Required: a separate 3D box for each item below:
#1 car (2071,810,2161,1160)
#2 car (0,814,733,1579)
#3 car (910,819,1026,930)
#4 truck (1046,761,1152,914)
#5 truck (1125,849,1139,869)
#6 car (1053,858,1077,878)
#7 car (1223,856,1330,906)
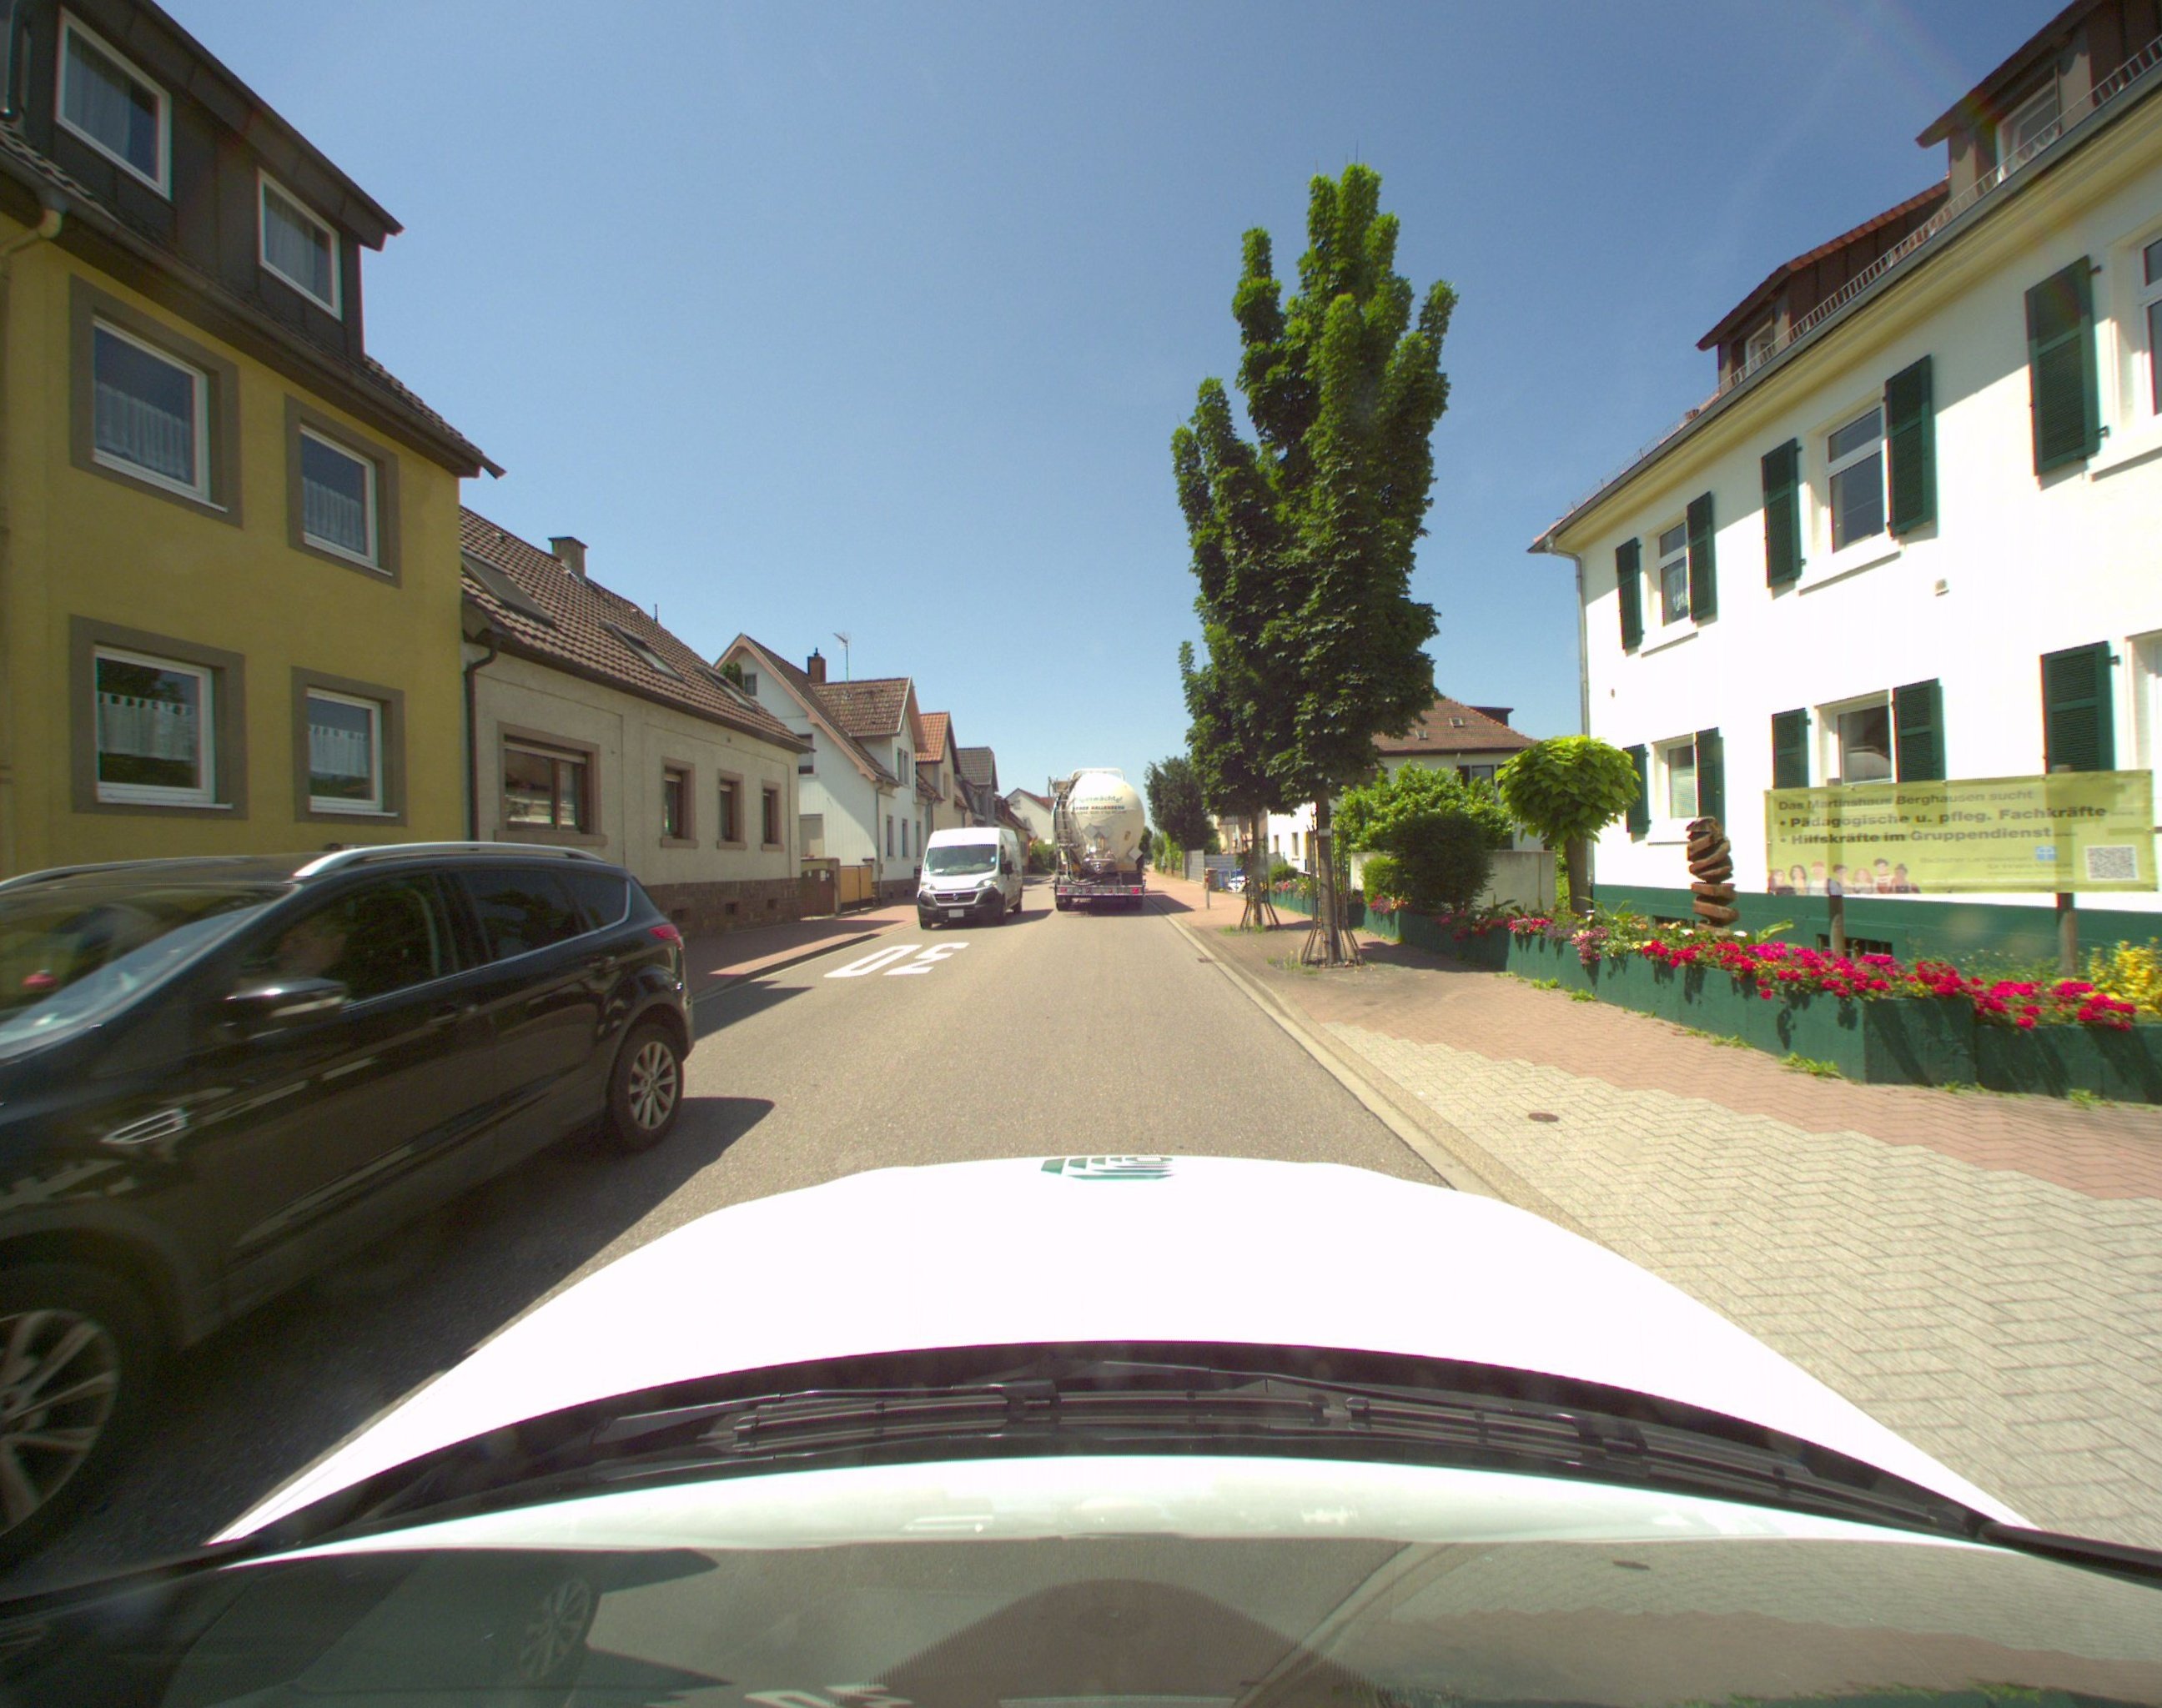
[{"bbox_3d":[5.052,0.567,1.201,1.804,1.462,4.898,2,0,10],"label":"car"},{"bbox_3d":[-3.281,0.797,3.193,1.833,1.670,4.324,-3,0,1],"label":"car"},{"bbox_3d":[-2.797,0.491,21.755,2.062,2.455,6.008,-3,0,1],"label":"car"},{"bbox_3d":[0.544,-0.369,25.121,2.723,3.960,8.142,0,-1,1],"label":"truck"},{"bbox_3d":[8.116,0.783,128.851,1.984,3.137,9.459,0,0,5],"label":"truck"},{"bbox_3d":[-1.362,1.197,70.852,1.844,1.571,4.255,-4,-1,1],"label":"car"},{"bbox_3d":[8.565,1.171,35.919,4.154,1.587,1.908,8,0,2],"label":"car"}]
